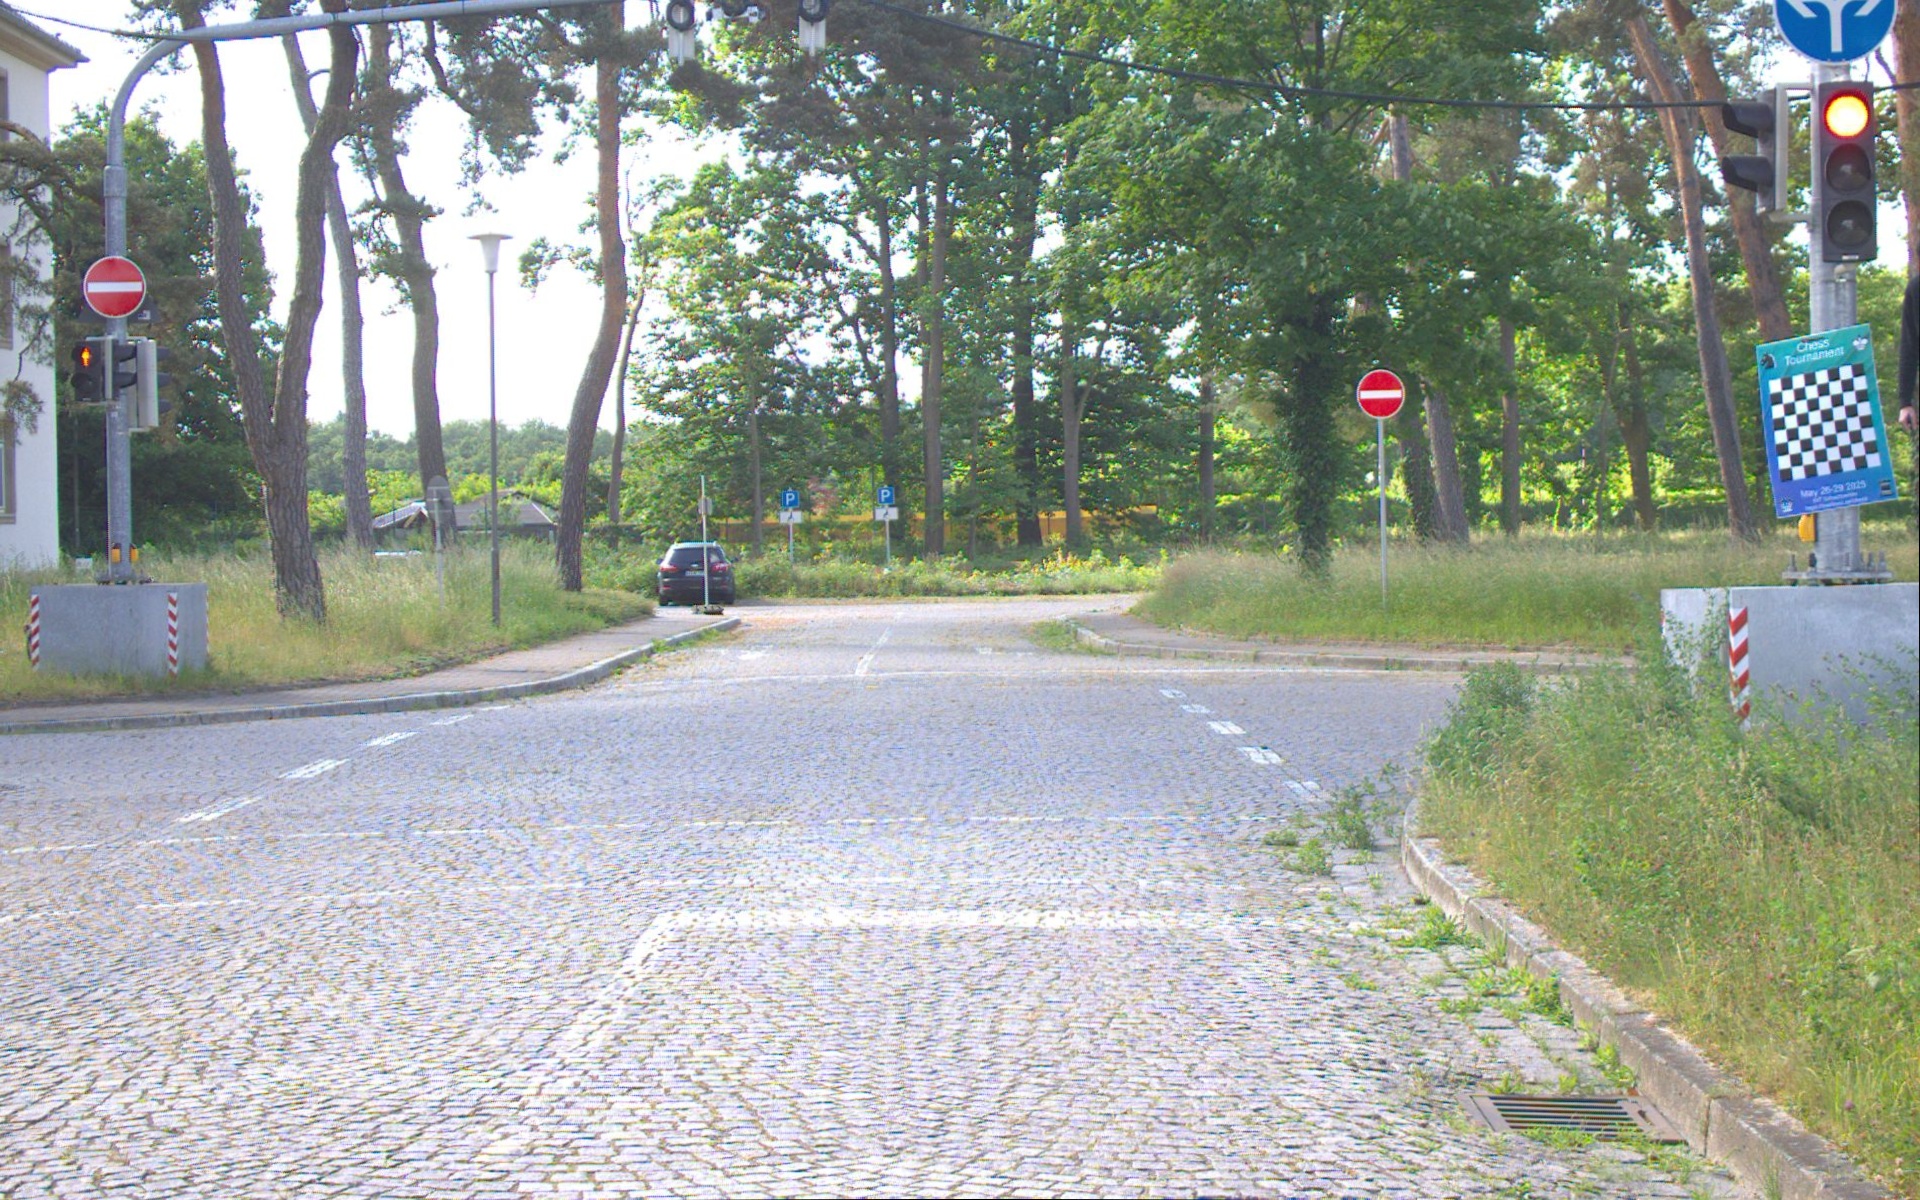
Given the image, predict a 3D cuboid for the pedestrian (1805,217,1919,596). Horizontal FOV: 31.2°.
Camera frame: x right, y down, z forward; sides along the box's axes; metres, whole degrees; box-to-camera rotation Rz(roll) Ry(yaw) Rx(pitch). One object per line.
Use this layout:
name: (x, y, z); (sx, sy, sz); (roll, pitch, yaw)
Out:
pedestrian: (4.861, -0.939, 16.742); (1.170, 1.790, 1.061); (-1, 1, 29)

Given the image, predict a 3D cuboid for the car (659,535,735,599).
car: (-6.432, -0.832, 84.496); (1.709, 1.491, 3.919); (-1, 1, -2)
